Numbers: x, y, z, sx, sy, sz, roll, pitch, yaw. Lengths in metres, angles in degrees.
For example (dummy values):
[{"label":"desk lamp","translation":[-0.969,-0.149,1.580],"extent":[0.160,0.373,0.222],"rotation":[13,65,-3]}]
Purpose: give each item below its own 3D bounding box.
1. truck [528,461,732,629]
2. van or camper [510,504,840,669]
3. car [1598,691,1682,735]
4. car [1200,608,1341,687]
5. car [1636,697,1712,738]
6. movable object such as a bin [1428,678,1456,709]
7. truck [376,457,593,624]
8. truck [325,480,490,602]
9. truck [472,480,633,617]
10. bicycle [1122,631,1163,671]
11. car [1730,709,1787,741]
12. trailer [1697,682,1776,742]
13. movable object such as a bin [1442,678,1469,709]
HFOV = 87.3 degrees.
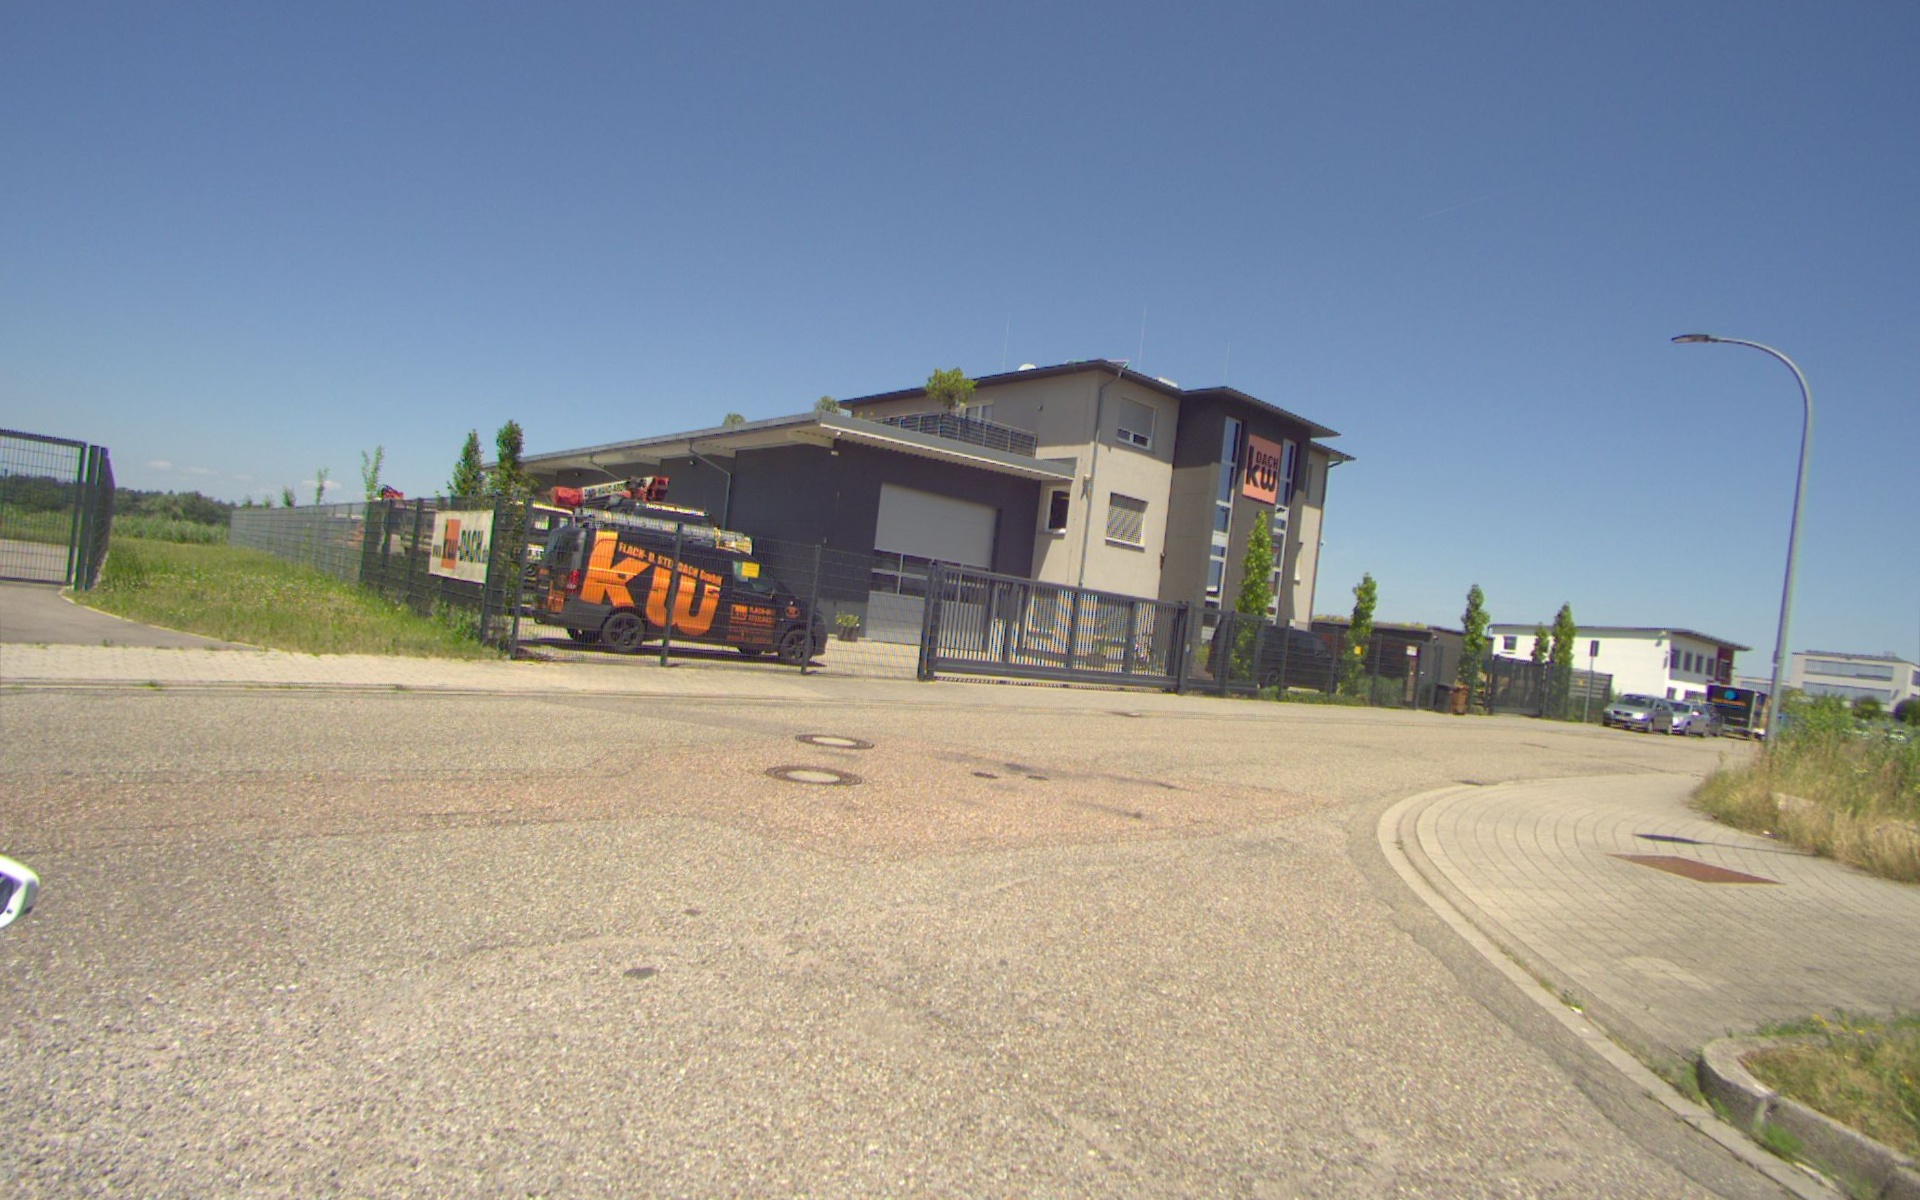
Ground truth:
[{"label":"truck","translation":[-9.586,-1.562,28.696],"extent":[2.908,3.977,6.859],"rotation":[6,0,-40]},{"label":"van or camper","translation":[-4.774,-0.168,17.318],"extent":[4.915,2.190,1.977],"rotation":[7,1,-40]},{"label":"car","translation":[27.165,4.528,40.150],"extent":[3.613,1.401,1.659],"rotation":[7,1,-39]},{"label":"car","translation":[9.193,1.417,29.694],"extent":[3.969,1.890,1.978],"rotation":[7,0,-40]},{"label":"car","translation":[30.830,5.077,43.418],"extent":[3.613,1.401,1.659],"rotation":[7,1,-39]},{"label":"movable object such as a bin","translation":[15.115,2.939,31.539],"extent":[0.432,0.895,0.555],"rotation":[6,1,-38]},{"label":"truck","translation":[-11.230,-1.366,23.346],"extent":[2.715,3.099,6.859],"rotation":[6,0,-40]},{"label":"truck","translation":[-16.776,-1.777,30.268],"extent":[2.908,2.974,6.859],"rotation":[7,0,-40]},{"label":"truck","translation":[-14.202,-1.792,34.705],"extent":[2.908,3.977,6.859],"rotation":[6,0,-40]},{"label":"bicycle","translation":[5.918,1.658,32.541],"extent":[0.437,1.200,1.801],"rotation":[7,0,36]},{"label":"car","translation":[43.993,6.877,55.395],"extent":[3.615,1.401,1.659],"rotation":[7,1,-40]},{"label":"trailer","translation":[39.285,5.673,50.864],"extent":[3.971,2.632,2.207],"rotation":[7,0,-41]},{"label":"movable object such as a bin","translation":[15.811,2.970,32.091],"extent":[0.432,0.895,0.555],"rotation":[6,1,-38]}]
